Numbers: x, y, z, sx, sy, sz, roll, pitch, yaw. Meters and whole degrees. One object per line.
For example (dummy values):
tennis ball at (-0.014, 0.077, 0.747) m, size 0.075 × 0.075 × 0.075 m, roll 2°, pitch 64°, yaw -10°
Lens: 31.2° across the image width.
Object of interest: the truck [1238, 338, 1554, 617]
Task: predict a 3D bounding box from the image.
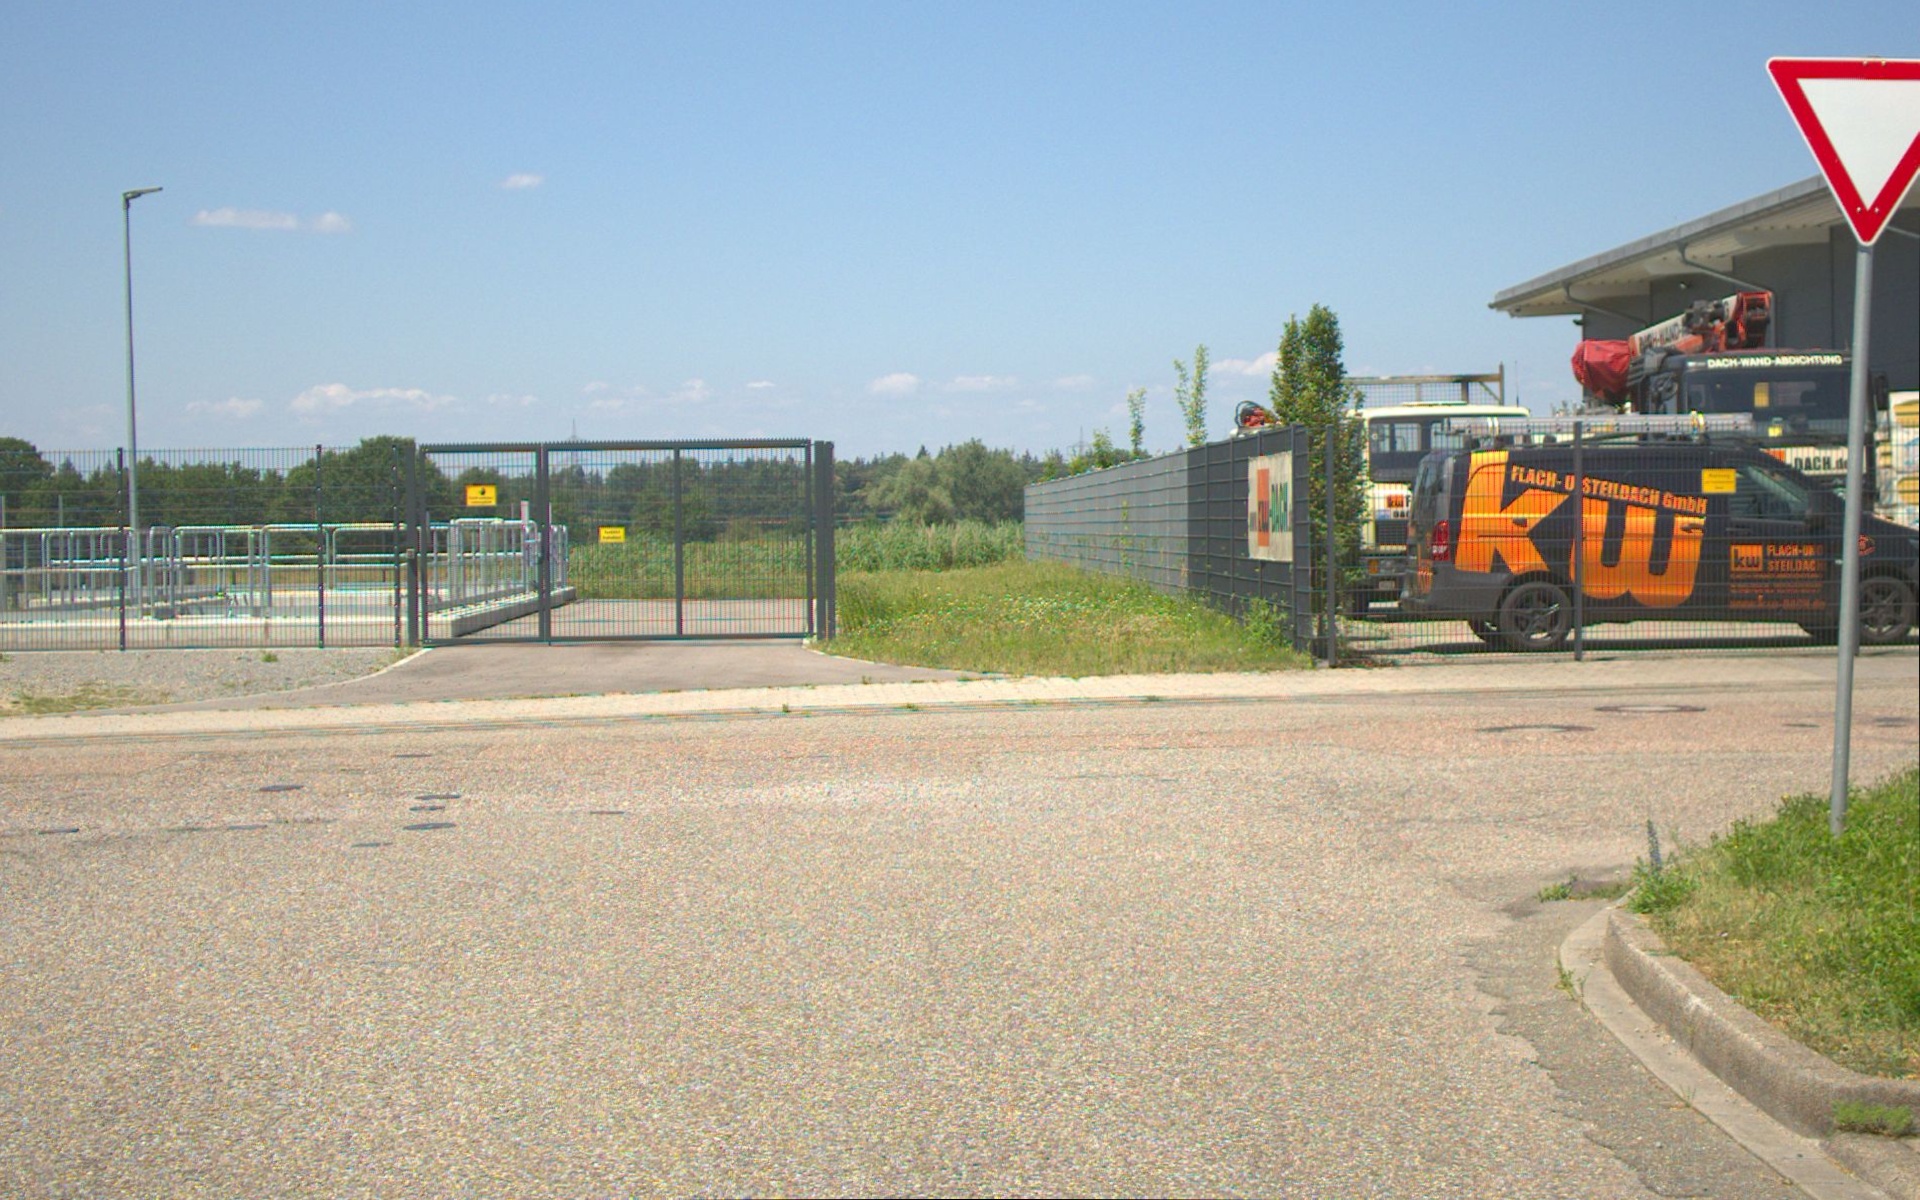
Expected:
truck at (5.146, -1.444, 41.815) m, size 2.726 × 3.051 × 6.937 m, roll -1°, pitch 1°, yaw -2°

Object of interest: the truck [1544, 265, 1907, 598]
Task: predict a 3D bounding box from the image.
truck at (9.760, -2.098, 44.632) m, size 2.921 × 3.915 × 6.937 m, roll -1°, pitch 1°, yaw -2°

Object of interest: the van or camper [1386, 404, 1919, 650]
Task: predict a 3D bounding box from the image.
van or camper at (6.656, -0.714, 32.512) m, size 4.936 × 2.156 × 2.000 m, roll -1°, pitch 2°, yaw -1°

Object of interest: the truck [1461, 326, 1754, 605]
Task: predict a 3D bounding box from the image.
truck at (9.738, -1.998, 52.487) m, size 2.921 × 3.915 × 6.937 m, roll -1°, pitch 1°, yaw -2°

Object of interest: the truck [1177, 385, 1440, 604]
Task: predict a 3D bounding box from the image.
truck at (4.995, -1.529, 50.551) m, size 2.921 × 2.927 × 6.937 m, roll -1°, pitch 1°, yaw -2°
